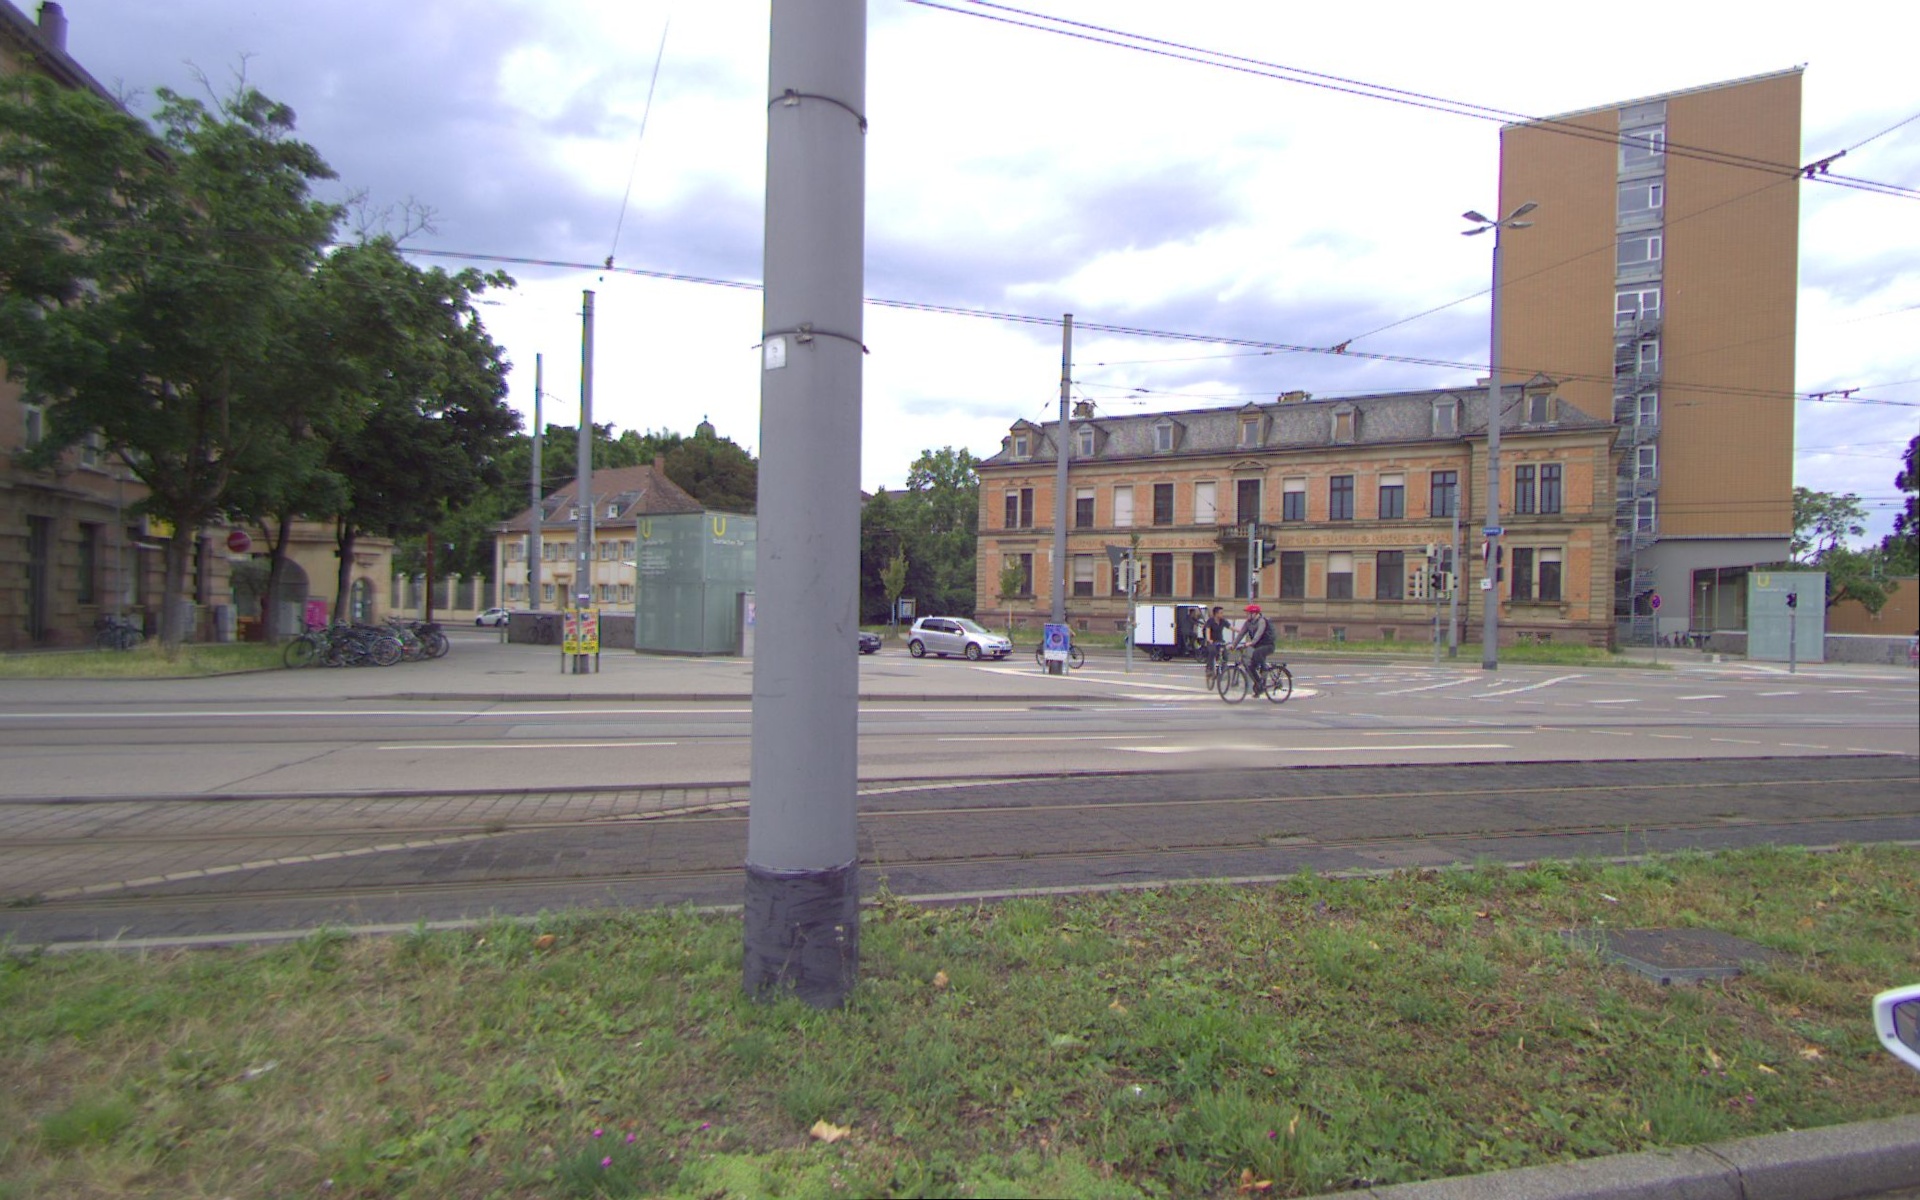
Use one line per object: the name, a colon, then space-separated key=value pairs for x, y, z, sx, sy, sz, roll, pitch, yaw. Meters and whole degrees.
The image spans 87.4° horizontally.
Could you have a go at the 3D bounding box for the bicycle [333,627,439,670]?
bicycle: x=-13.798 y=1.164 z=24.165 sx=2.178 sy=1.000 sz=0.499 roll=1 pitch=0 yaw=-5

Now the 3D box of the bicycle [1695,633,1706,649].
bicycle: x=49.777 y=2.748 z=67.520 sx=0.474 sy=1.063 sz=1.424 roll=1 pitch=-1 yaw=33

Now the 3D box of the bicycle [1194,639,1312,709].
bicycle: x=5.519 y=1.361 z=18.892 sx=2.206 sy=1.224 sz=0.821 roll=1 pitch=-1 yaw=-28

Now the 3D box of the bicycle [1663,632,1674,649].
bicycle: x=48.271 y=2.764 z=68.442 sx=0.563 sy=1.120 sz=1.424 roll=1 pitch=-1 yaw=33

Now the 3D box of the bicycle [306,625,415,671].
bicycle: x=-13.931 y=1.121 z=23.370 sx=2.178 sy=1.019 sz=0.480 roll=1 pitch=0 yaw=-5

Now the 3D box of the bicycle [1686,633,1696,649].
bicycle: x=49.341 y=2.758 z=67.807 sx=0.474 sy=1.063 sz=1.424 roll=1 pitch=-1 yaw=33

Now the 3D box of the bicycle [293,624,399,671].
bicycle: x=-13.920 y=1.075 z=22.804 sx=1.999 sy=1.000 sz=0.521 roll=1 pitch=0 yaw=-5

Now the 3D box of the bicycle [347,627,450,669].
bicycle: x=-14.172 y=1.211 z=25.379 sx=2.178 sy=1.000 sz=0.610 roll=1 pitch=0 yaw=-5

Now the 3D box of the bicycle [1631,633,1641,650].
bicycle: x=46.699 y=2.869 z=69.411 sx=0.563 sy=1.120 sz=1.424 roll=1 pitch=-1 yaw=33

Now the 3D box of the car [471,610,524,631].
car: x=-35.442 y=1.552 z=76.950 sx=4.115 sy=1.468 sz=1.693 roll=1 pitch=0 yaw=32

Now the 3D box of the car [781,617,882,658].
car: x=-5.128 y=1.456 z=39.786 sx=4.081 sy=1.468 sz=1.689 roll=1 pitch=0 yaw=40

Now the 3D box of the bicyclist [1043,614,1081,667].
bicyclist: x=3.233 y=1.269 z=31.843 sx=0.902 sy=1.644 sz=0.852 roll=0 pitch=-1 yaw=35

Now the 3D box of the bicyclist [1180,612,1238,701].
bicyclist: x=5.240 y=1.159 z=21.181 sx=0.802 sy=1.822 sz=1.027 roll=0 pitch=0 yaw=-12

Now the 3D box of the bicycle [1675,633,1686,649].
bicycle: x=48.820 y=2.773 z=68.082 sx=0.501 sy=1.063 sz=1.424 roll=1 pitch=-1 yaw=33

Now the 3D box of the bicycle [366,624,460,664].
bicycle: x=-15.267 y=1.227 z=28.083 sx=2.178 sy=1.052 sz=0.688 roll=1 pitch=0 yaw=-5

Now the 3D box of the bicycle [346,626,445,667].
bicycle: x=-14.570 y=1.199 z=25.950 sx=2.178 sy=1.000 sz=0.499 roll=1 pitch=0 yaw=-5

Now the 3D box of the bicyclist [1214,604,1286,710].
bicyclist: x=5.437 y=1.054 z=18.848 sx=1.035 sy=1.917 sz=0.826 roll=1 pitch=-1 yaw=-27

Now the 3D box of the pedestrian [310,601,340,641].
pedestrian: x=-28.133 y=0.928 z=44.507 sx=0.832 sy=1.745 sz=0.950 roll=1 pitch=0 yaw=-12

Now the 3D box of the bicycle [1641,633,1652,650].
bicycle: x=47.197 y=2.871 z=69.092 sx=0.563 sy=1.120 sz=1.424 roll=1 pitch=-1 yaw=33

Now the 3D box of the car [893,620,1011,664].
car: x=-0.326 y=1.478 z=36.425 sx=4.097 sy=1.473 sz=1.754 roll=0 pitch=-1 yaw=39

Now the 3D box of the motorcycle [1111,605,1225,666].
motorcycle: x=7.404 y=1.218 z=35.840 sx=3.625 sy=2.040 sz=1.691 roll=1 pitch=0 yaw=34

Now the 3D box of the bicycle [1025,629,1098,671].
bicycle: x=3.220 y=1.569 z=31.839 sx=2.162 sy=1.224 sz=0.854 roll=0 pitch=-1 yaw=36

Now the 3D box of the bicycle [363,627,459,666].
bicycle: x=-14.699 y=1.241 z=26.938 sx=2.178 sy=1.000 sz=0.585 roll=1 pitch=0 yaw=-5

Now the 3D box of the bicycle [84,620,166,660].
bicycle: x=-21.125 y=1.005 z=25.413 sx=1.950 sy=0.927 sz=0.662 roll=1 pitch=0 yaw=18

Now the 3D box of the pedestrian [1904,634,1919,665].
pedestrian: x=43.059 y=2.223 z=45.303 sx=0.563 sy=1.353 sz=0.498 roll=1 pitch=0 yaw=25

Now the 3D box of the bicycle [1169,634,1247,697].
bicycle: x=5.215 y=1.350 z=21.266 sx=0.802 sy=1.259 sz=1.996 roll=0 pitch=-2 yaw=-12

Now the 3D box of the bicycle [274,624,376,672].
bicycle: x=-13.920 y=1.053 z=22.042 sx=1.834 sy=1.000 sz=0.499 roll=1 pitch=0 yaw=-7

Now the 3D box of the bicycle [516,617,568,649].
bicycle: x=-15.728 y=1.243 z=37.792 sx=2.326 sy=1.130 sz=0.737 roll=1 pitch=0 yaw=38
